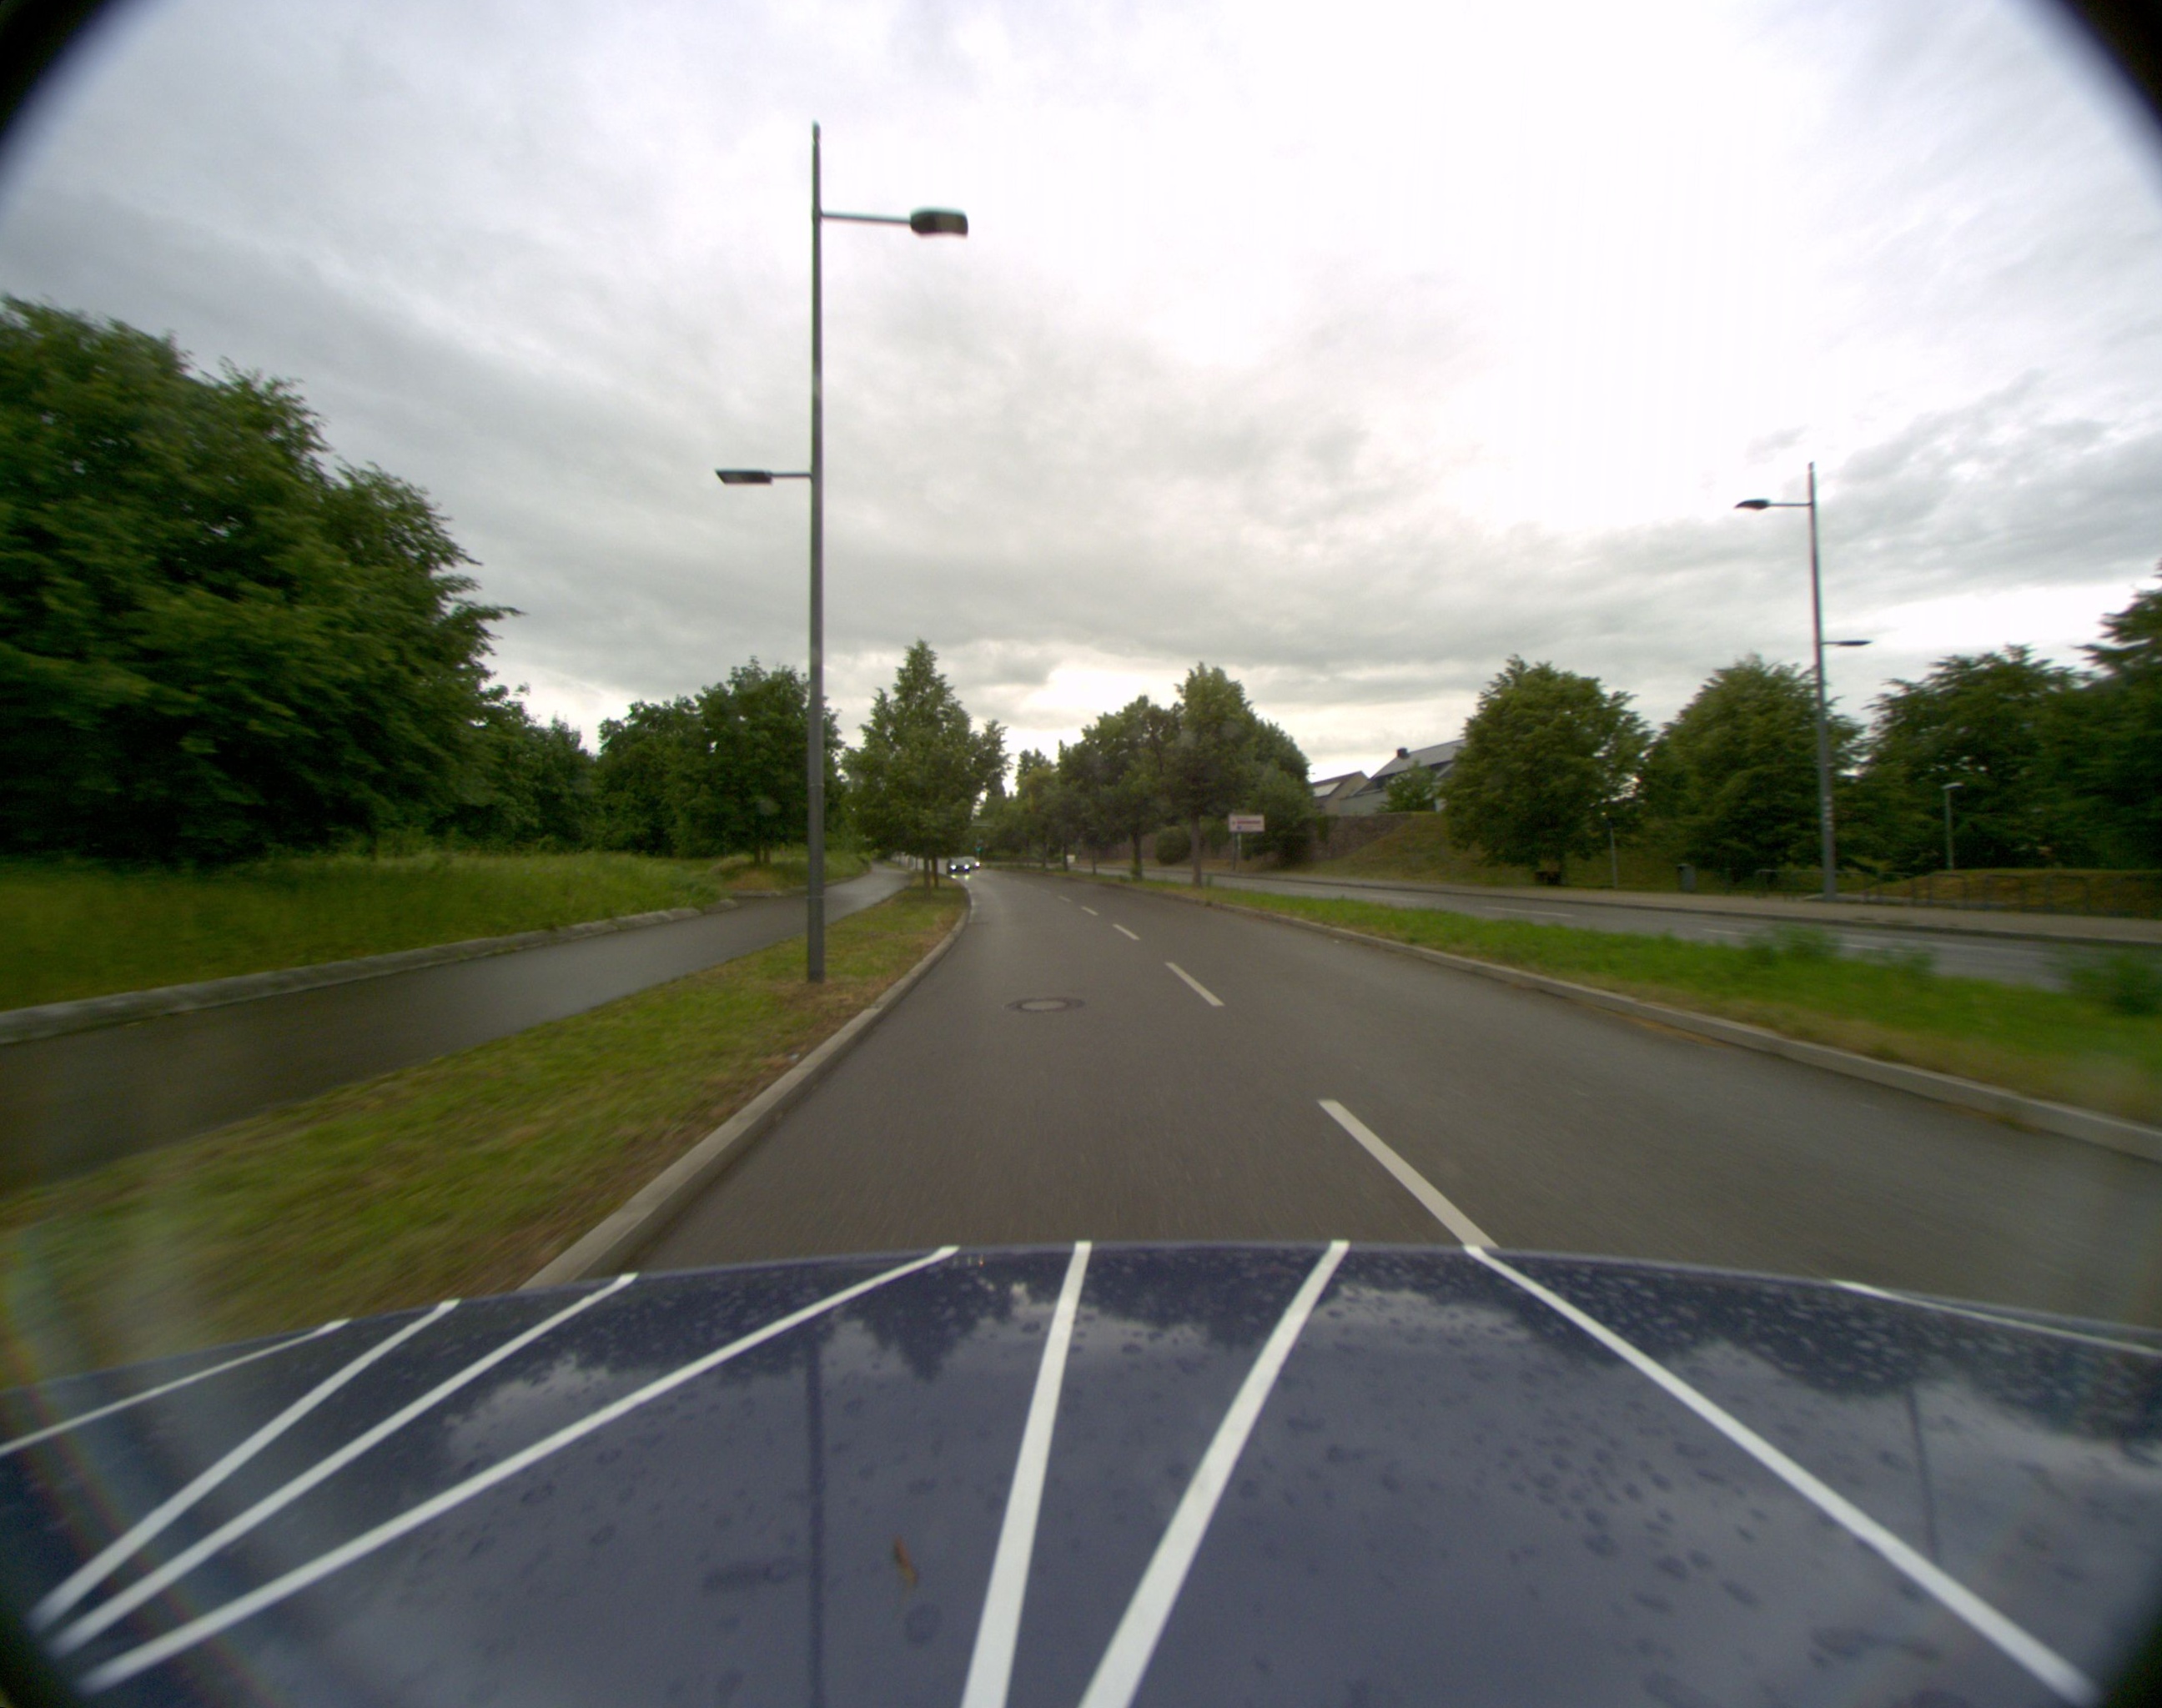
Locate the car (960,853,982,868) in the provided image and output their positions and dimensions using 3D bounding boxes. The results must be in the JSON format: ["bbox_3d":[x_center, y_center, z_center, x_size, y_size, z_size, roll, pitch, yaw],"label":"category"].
[{"bbox_3d":[-12.258,0.704,84.842,1.827,1.548,3.993,-1,2,-17],"label":"car"}]

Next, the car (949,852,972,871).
[{"bbox_3d":[-10.882,0.691,68.545,1.826,1.548,3.994,-1,2,-12],"label":"car"}]

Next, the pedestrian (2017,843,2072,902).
[{"bbox_3d":[28.850,0.548,22.770,0.647,1.718,0.755,-1,2,-4],"label":"pedestrian"}]
